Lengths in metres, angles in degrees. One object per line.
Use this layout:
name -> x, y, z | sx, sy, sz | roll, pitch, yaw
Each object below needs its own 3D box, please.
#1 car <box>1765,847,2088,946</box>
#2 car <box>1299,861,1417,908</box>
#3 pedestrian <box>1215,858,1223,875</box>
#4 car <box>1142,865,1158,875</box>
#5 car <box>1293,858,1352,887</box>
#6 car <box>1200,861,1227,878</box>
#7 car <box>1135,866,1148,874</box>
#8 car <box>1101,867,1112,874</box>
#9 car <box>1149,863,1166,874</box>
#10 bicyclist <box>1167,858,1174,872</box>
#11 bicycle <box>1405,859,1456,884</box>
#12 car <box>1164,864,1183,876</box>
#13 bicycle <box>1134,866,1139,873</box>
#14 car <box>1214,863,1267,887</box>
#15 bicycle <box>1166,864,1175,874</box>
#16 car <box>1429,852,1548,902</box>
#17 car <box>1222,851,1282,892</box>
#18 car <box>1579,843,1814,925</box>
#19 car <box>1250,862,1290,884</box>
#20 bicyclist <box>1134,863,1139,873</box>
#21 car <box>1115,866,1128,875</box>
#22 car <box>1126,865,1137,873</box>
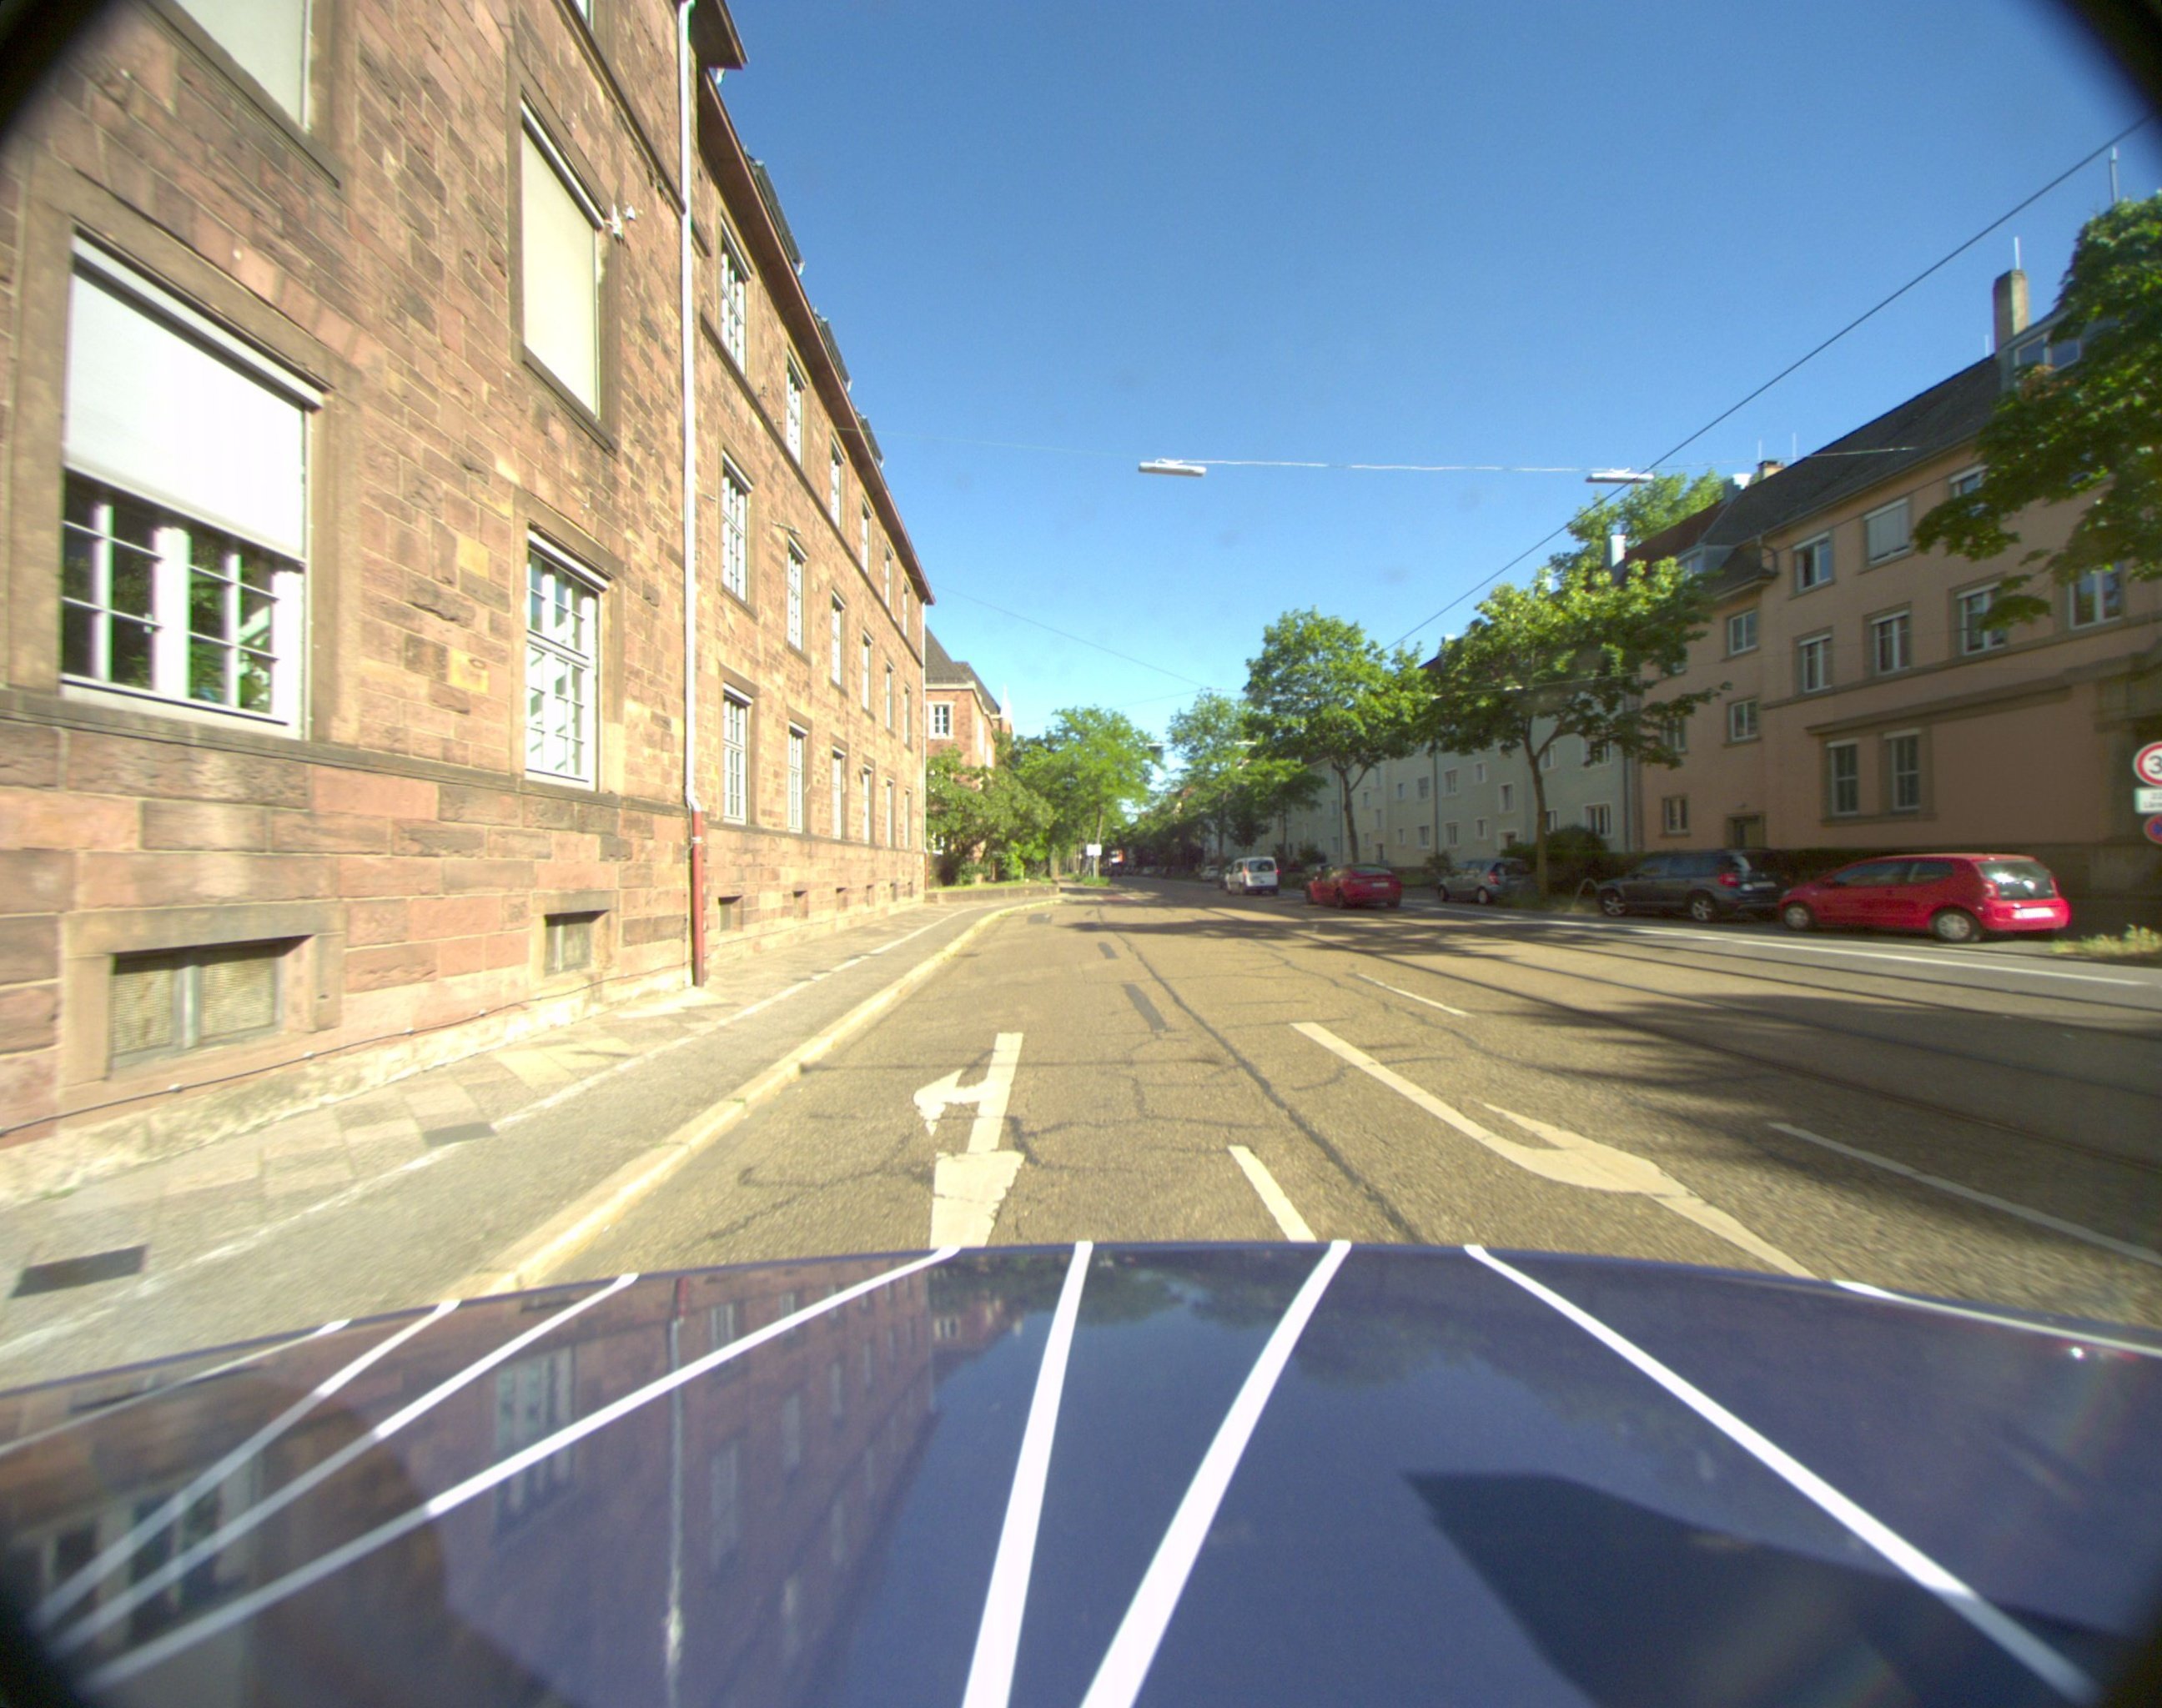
car -> 14.901, 0.694, 13.723 | 1.586, 1.479, 3.611 | -3, -1, -6
car -> 8.951, 0.943, 25.011 | 1.926, 1.378, 4.686 | -1, -1, -3
pedestrian -> 14.596, 1.277, 80.378 | 0.693, 1.791, 0.813 | 0, 0, -2
car -> 11.165, 2.563, 123.090 | 1.822, 1.502, 4.370 | -2, -1, -3
car -> 13.827, 1.053, 43.713 | 1.750, 1.481, 4.323 | -3, -1, -3
car -> 12.841, 1.490, 73.774 | 1.707, 1.476, 4.078 | -3, -1, -2
car -> 10.738, 2.768, 134.552 | 1.710, 1.398, 4.333 | -2, -1, -3
car -> 4.801, 3.149, 144.564 | 1.704, 1.430, 4.071 | -1, -1, -3
car -> 11.350, 2.097, 112.681 | 1.763, 1.502, 4.438 | -2, -1, -3
bicyclist -> 10.475, 1.282, 89.061 | 0.711, 1.597, 0.865 | 2, 0, -2
bicycle -> 18.083, 0.924, 39.371 | 2.289, 1.191, 0.560 | -3, -1, 5
car -> 12.088, 2.063, 99.471 | 1.822, 1.476, 4.206 | -2, -1, -2
bicycle -> 9.147, 2.569, 125.963 | 0.628, 1.170, 1.913 | 2, -1, -2
car -> 9.695, 1.247, 46.543 | 1.815, 1.378, 4.438 | 0, -1, -7
bicycle -> 10.464, 1.742, 88.998 | 0.696, 1.170, 1.913 | 2, -1, -2
car -> 14.354, 0.794, 27.057 | 1.750, 1.560, 4.068 | -3, -1, -5
car -> 8.279, 0.839, 37.138 | 1.814, 1.877, 4.440 | -1, -1, -2
car -> 14.545, 0.681, 18.348 | 1.751, 1.650, 4.389 | -3, -1, -6
car -> 13.670, 1.390, 55.179 | 1.565, 1.448, 3.930 | -3, -1, -4
bicyclist -> 9.149, 2.256, 125.948 | 0.628, 1.629, 0.940 | 2, 0, -2
car -> 6.471, 2.637, 121.057 | 1.704, 1.462, 4.071 | -1, -1, -3
car -> 10.143, 3.009, 153.955 | 1.781, 1.532, 4.485 | -2, -1, -2
